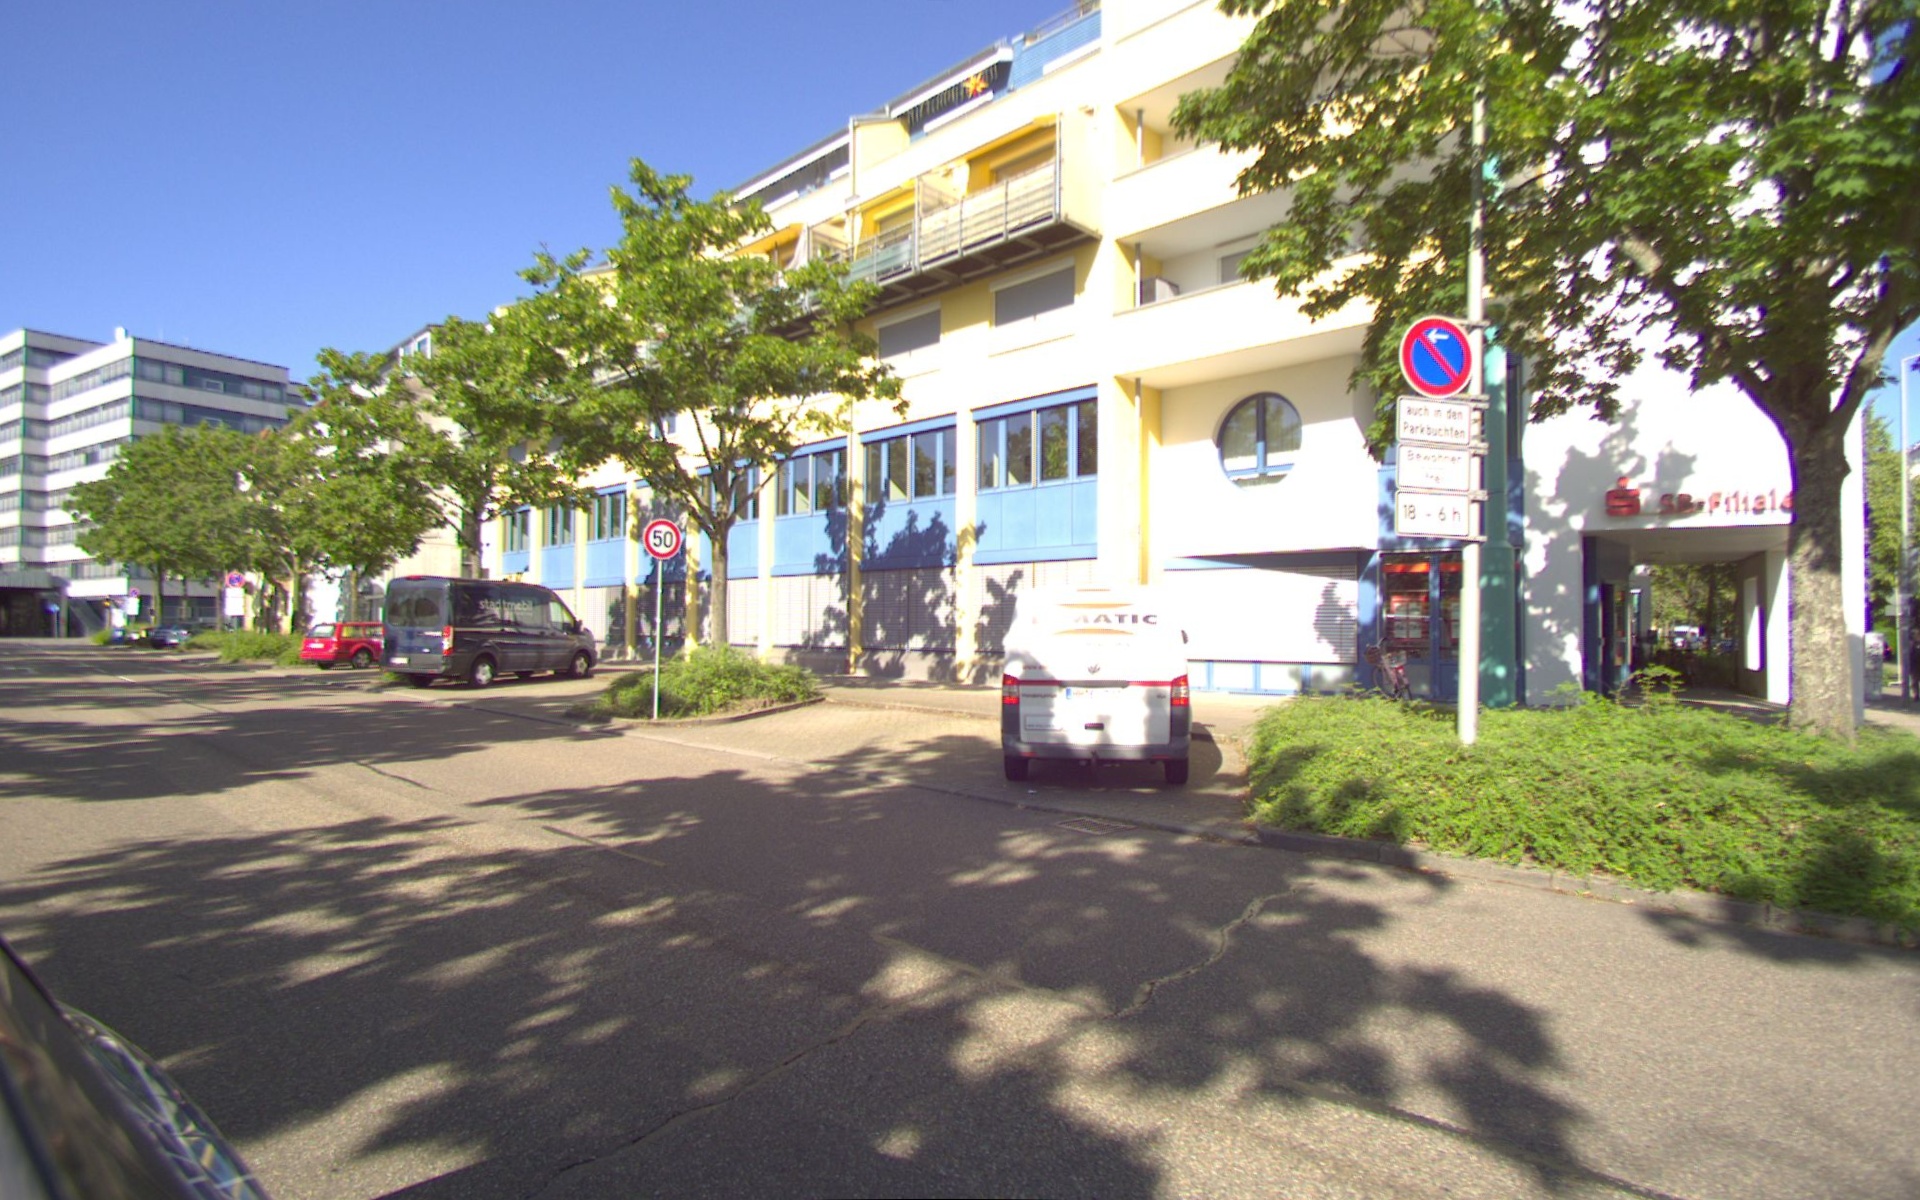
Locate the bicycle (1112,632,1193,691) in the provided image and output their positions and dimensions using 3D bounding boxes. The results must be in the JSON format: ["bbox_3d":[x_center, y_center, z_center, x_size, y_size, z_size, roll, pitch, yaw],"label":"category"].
[{"bbox_3d":[3.846,1.215,20.130,0.702,1.106,1.777,-2,-4,45],"label":"bicycle"}]

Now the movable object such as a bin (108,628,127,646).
[{"bbox_3d":[-51.560,2.266,61.934,0.664,1.082,0.805,1,-2,-21],"label":"movable object such as a bin"}]

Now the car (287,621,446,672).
[{"bbox_3d":[-18.669,1.422,32.061,1.757,1.487,4.205,-1,-1,21],"label":"car"}]

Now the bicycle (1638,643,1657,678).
[{"bbox_3d":[17.812,1.550,26.218,0.286,0.878,1.785,0,-2,30],"label":"bicycle"}]

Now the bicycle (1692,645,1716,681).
[{"bbox_3d":[18.819,1.571,25.606,0.286,0.878,1.785,0,-2,30],"label":"bicycle"}]

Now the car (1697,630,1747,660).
[{"bbox_3d":[48.399,2.852,64.347,1.836,1.819,3.962,-1,-2,27],"label":"car"}]

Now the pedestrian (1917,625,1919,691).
[{"bbox_3d":[21.947,1.310,22.517,0.678,1.500,0.840,0,-2,24],"label":"pedestrian"}]

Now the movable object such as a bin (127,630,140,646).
[{"bbox_3d":[-50.809,2.322,62.219,0.469,0.967,0.544,0,0,-23],"label":"movable object such as a bin"}]

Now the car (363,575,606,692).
[{"bbox_3d":[-11.128,0.745,24.263,2.168,2.455,5.474,-1,-1,17],"label":"car"}]

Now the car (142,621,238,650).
[{"bbox_3d":[-41.820,1.899,55.072,1.791,1.475,3.987,0,0,10],"label":"car"}]

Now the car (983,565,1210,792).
[{"bbox_3d":[1.509,0.747,11.421,1.976,2.000,4.760,-1,-1,7],"label":"car"}]

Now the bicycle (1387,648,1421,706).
[{"bbox_3d":[7.697,1.309,17.523,0.489,0.878,1.788,0,-1,25],"label":"bicycle"}]

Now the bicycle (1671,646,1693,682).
[{"bbox_3d":[18.411,1.614,25.819,0.286,0.878,1.785,0,-2,30],"label":"bicycle"}]

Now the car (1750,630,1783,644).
[{"bbox_3d":[82.728,3.767,103.852,1.992,1.441,3.959,0,-2,30],"label":"car"}]

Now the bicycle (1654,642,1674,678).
[{"bbox_3d":[18.078,1.530,26.009,0.286,0.878,1.785,0,-2,30],"label":"bicycle"}]

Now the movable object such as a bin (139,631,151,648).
[{"bbox_3d":[-50.866,2.444,63.169,0.469,1.048,0.544,0,0,-21],"label":"movable object such as a bin"}]

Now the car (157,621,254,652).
[{"bbox_3d":[-39.543,1.878,53.152,1.791,1.475,3.987,0,0,10],"label":"car"}]

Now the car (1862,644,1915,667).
[{"bbox_3d":[64.057,3.795,69.895,1.930,1.516,3.876,-1,-2,32],"label":"car"}]

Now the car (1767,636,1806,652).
[{"bbox_3d":[77.739,4.080,95.251,1.991,1.441,4.598,0,-2,28],"label":"car"}]

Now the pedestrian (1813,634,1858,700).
[{"bbox_3d":[21.024,1.589,24.315,0.718,1.525,0.789,-1,0,36],"label":"pedestrian"}]
